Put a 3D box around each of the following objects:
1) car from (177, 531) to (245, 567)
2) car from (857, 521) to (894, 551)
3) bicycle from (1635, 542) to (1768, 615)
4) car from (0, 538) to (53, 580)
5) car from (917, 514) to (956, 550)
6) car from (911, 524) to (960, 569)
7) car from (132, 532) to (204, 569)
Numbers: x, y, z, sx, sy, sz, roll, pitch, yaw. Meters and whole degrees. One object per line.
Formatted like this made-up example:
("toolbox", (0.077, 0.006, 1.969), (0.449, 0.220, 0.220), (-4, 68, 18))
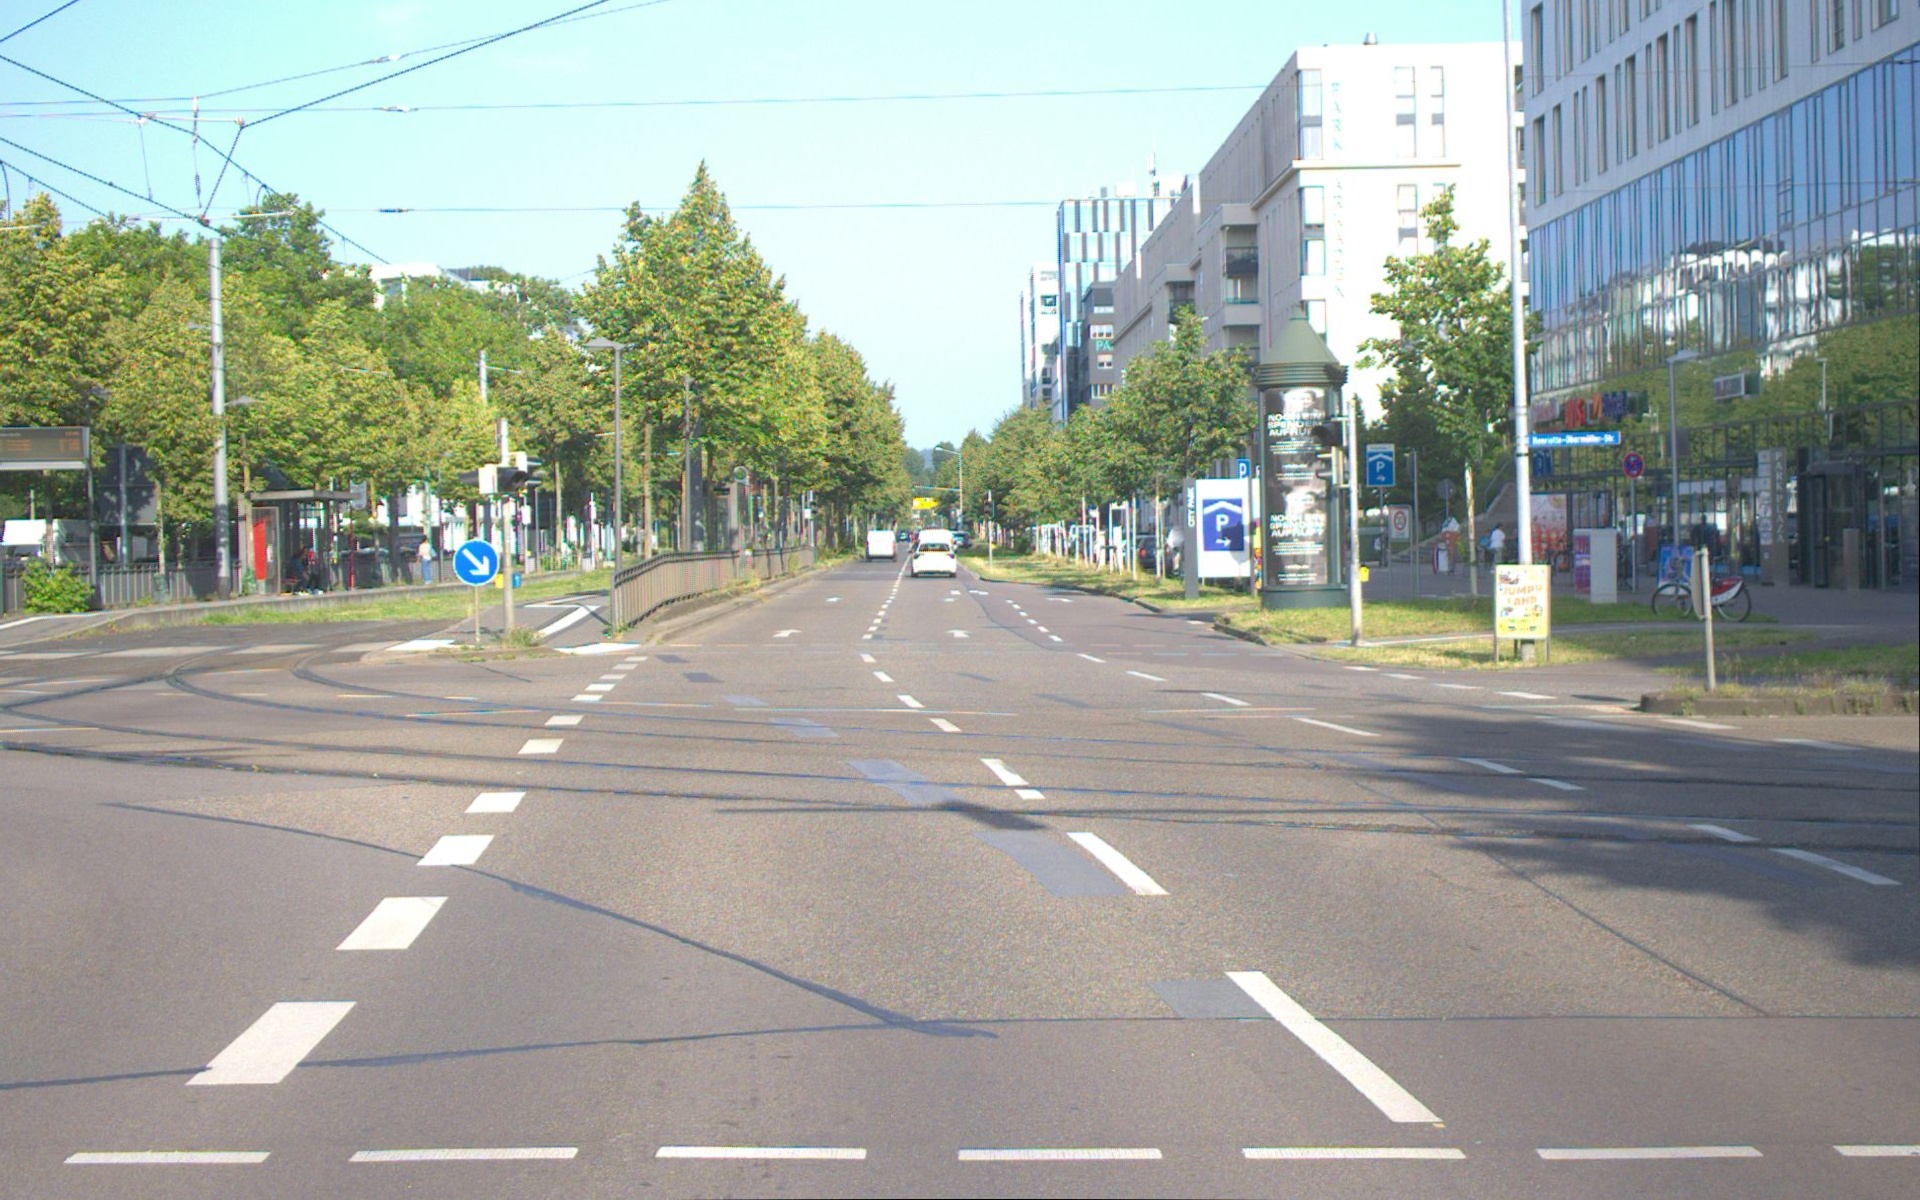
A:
("car", (-33.946, -2.326, 155.941), (1.881, 1.554, 3.999), (-1, 1, 5))
("car", (-4.923, -3.724, 200.972), (2.014, 1.678, 4.000), (1, 2, 0))
("bicycle", (11.424, -0.339, 52.995), (0.771, 1.028, 1.878), (-2, 4, -44))
("car", (-35.695, -1.542, 129.102), (1.881, 1.554, 3.999), (-1, 1, 5))
("car", (-1.141, -3.302, 167.331), (1.864, 1.678, 4.000), (1, 2, 0))
("car", (-0.938, -2.073, 132.918), (1.864, 1.678, 4.000), (1, 2, 0))
("car", (-34.420, -2.146, 149.519), (1.881, 1.554, 3.999), (-1, 1, 5))
